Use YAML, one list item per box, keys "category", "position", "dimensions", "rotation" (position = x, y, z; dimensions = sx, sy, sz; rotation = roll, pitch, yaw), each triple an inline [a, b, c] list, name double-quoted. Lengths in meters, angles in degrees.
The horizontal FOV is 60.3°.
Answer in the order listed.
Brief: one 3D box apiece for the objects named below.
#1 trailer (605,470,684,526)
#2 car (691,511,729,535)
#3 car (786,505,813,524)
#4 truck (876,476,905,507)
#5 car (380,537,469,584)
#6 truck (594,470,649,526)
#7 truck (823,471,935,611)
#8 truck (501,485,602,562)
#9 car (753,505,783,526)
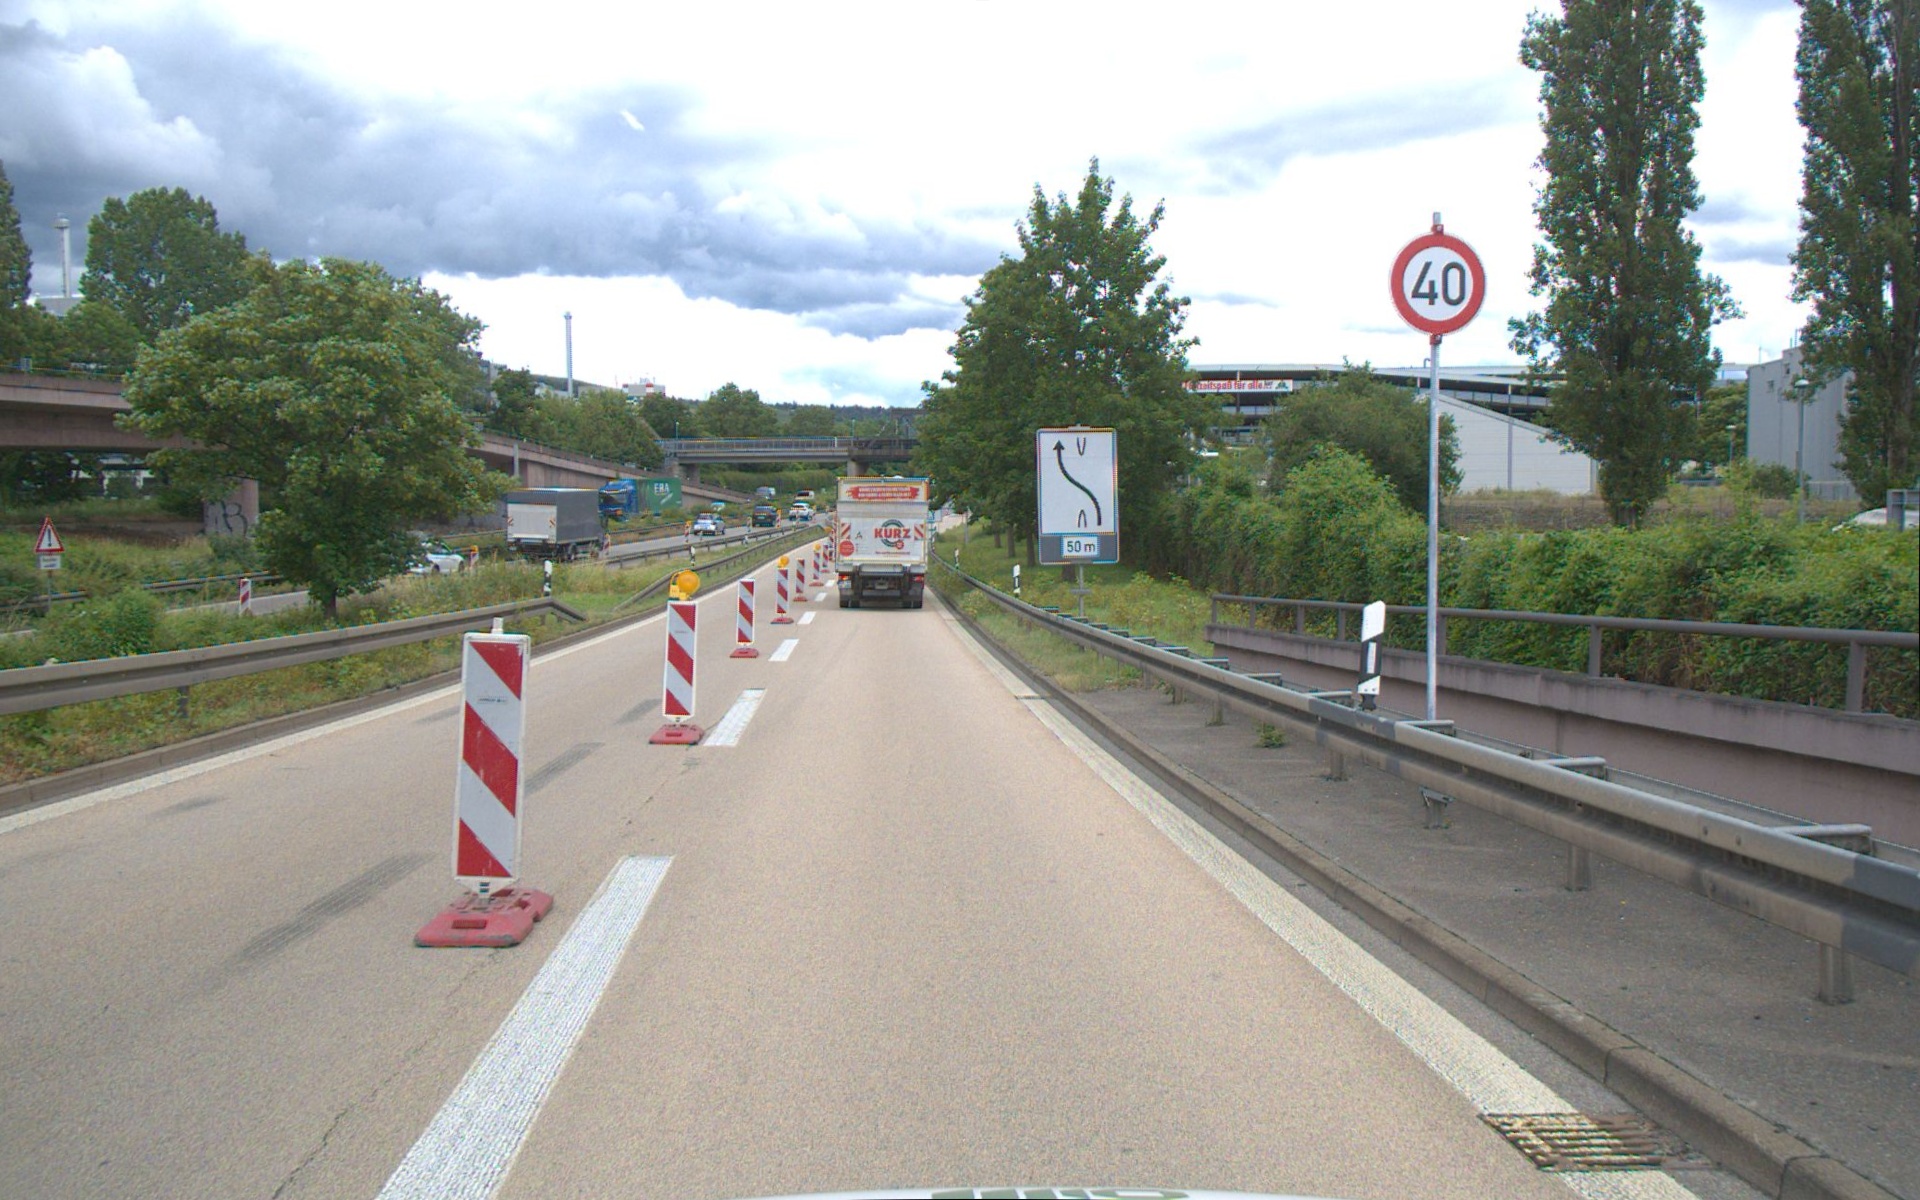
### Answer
- category: "trailer"
  position: [-26.010, -8.479, 137.375]
  dimensions: [2.713, 4.367, 13.994]
  rotation: [0, 4, 5]
- category: "car"
  position: [-17.883, -5.540, 118.454]
  dimensions: [1.952, 1.645, 4.003]
  rotation: [0, 4, 2]
- category: "car"
  position: [-14.725, -7.861, 151.734]
  dimensions: [1.952, 1.645, 4.003]
  rotation: [0, 4, 2]
- category: "truck"
  position: [-8.972, -14.111, 215.516]
  dimensions: [3.218, 3.918, 7.669]
  rotation: [0, 3, 2]
- category: "car"
  position: [-22.022, -1.665, 68.197]
  dimensions: [1.951, 1.742, 4.105]
  rotation: [1, 4, 6]
- category: "truck"
  position: [-26.659, -8.037, 130.388]
  dimensions: [2.694, 4.345, 5.509]
  rotation: [0, 3, 6]
- category: "truck"
  position: [-2.349, -1.736, 48.138]
  dimensions: [2.990, 3.736, 7.925]
  rotation: [0, 2, -3]
- category: "truck"
  position: [-20.563, -3.937, 83.714]
  dimensions: [2.987, 3.718, 7.401]
  rotation: [0, 4, 2]
- category: "car"
  position: [-15.803, -6.975, 136.308]
  dimensions: [1.952, 1.645, 4.003]
  rotation: [0, 4, 2]
